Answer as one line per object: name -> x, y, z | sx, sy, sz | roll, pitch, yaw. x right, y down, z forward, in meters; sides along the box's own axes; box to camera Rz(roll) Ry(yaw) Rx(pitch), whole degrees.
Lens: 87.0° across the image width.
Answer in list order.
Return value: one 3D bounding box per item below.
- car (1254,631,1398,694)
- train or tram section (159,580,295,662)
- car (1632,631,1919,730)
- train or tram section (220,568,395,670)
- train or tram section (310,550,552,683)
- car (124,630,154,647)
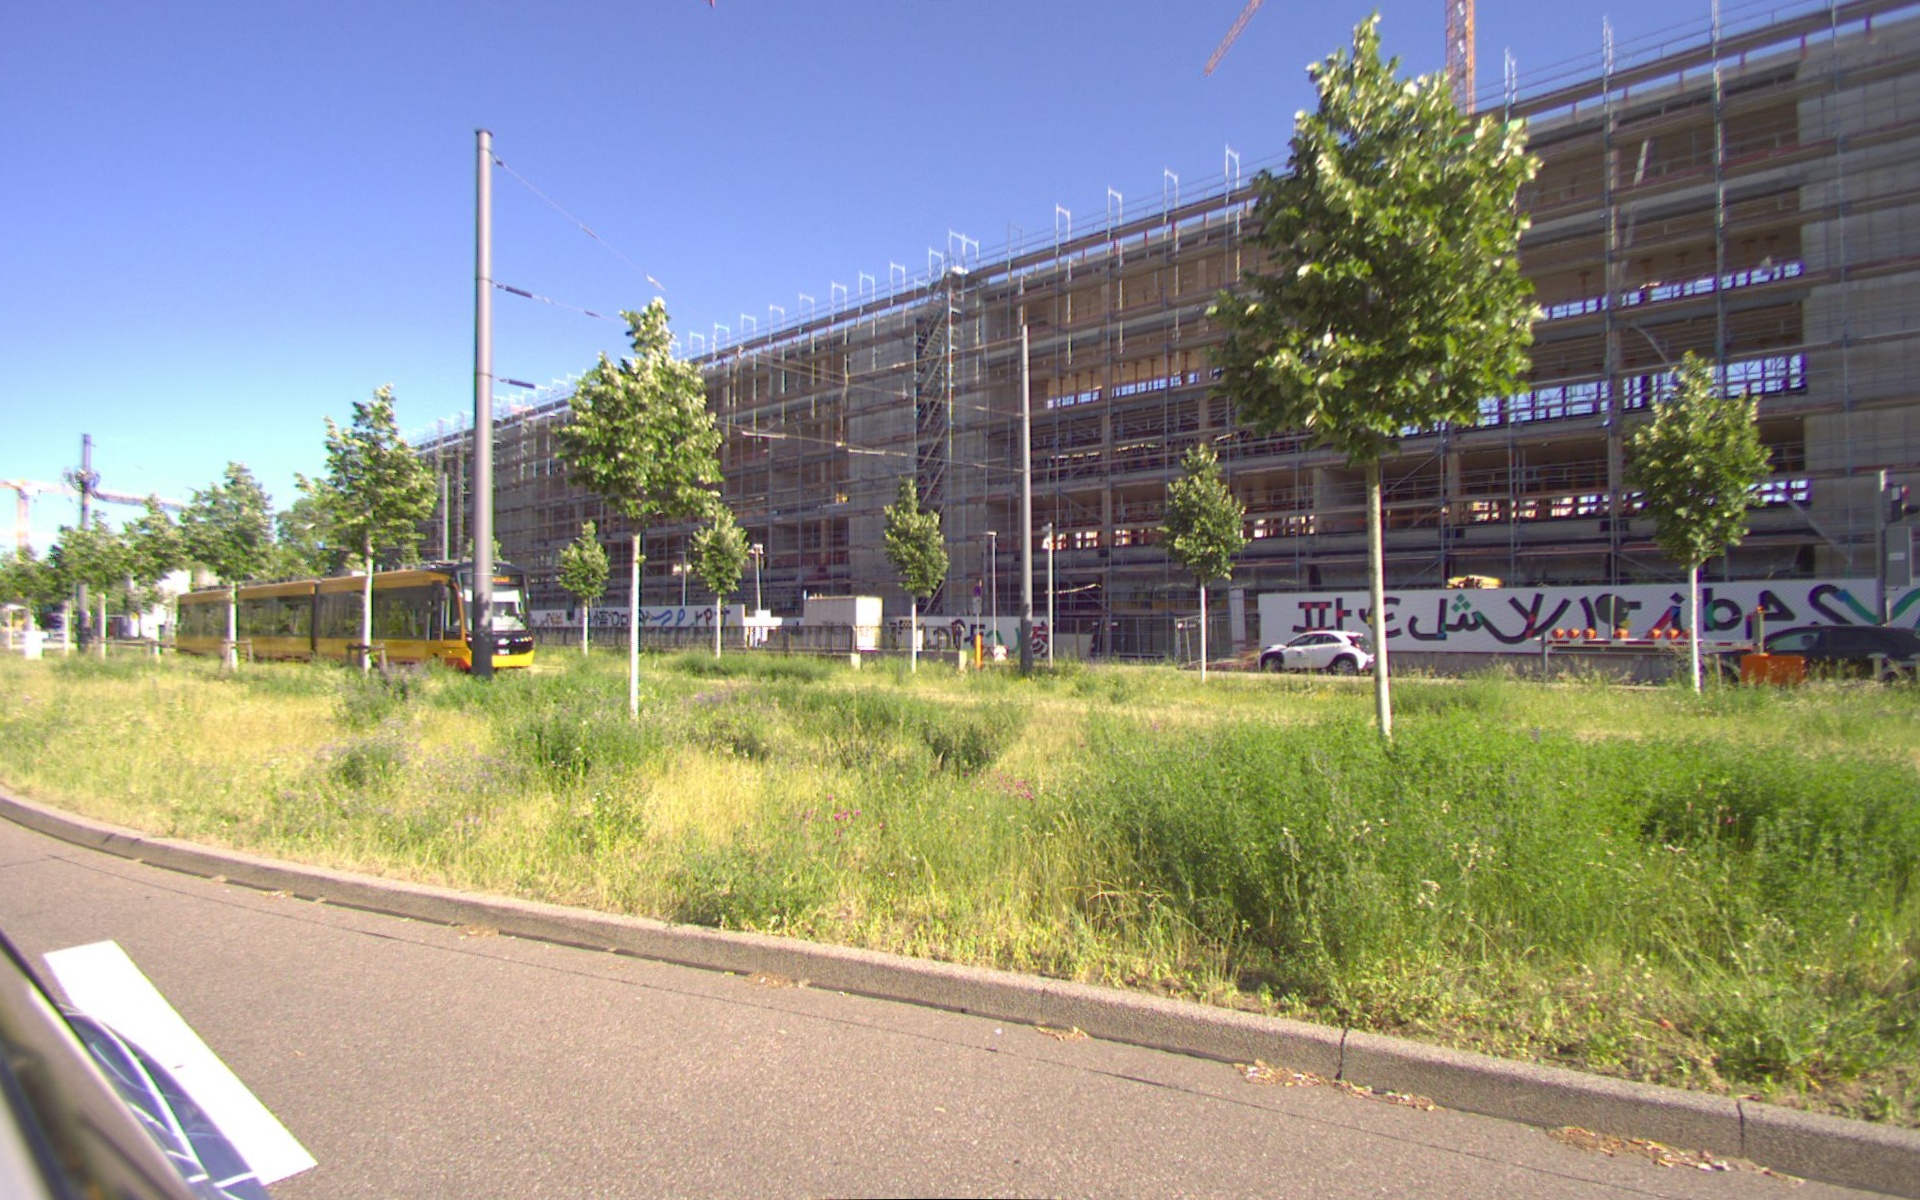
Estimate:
car -> 11.901, 1.983, 33.030 | 3.984, 1.933, 1.889 | -2, -2, 41
train or tram section -> -36.704, 1.083, 50.377 | 12.785, 3.666, 2.785 | -2, -2, 42
car -> 16.656, 1.548, 20.757 | 4.526, 1.806, 1.972 | -2, -2, 42
train or tram section -> -27.231, 0.829, 41.804 | 12.785, 3.666, 2.785 | -2, -2, 42
train or tram section -> -17.763, 0.596, 33.222 | 12.786, 3.666, 2.785 | -2, -2, 42
car -> -108.039, 5.091, 133.196 | 4.395, 2.175, 2.307 | -2, -2, 41
